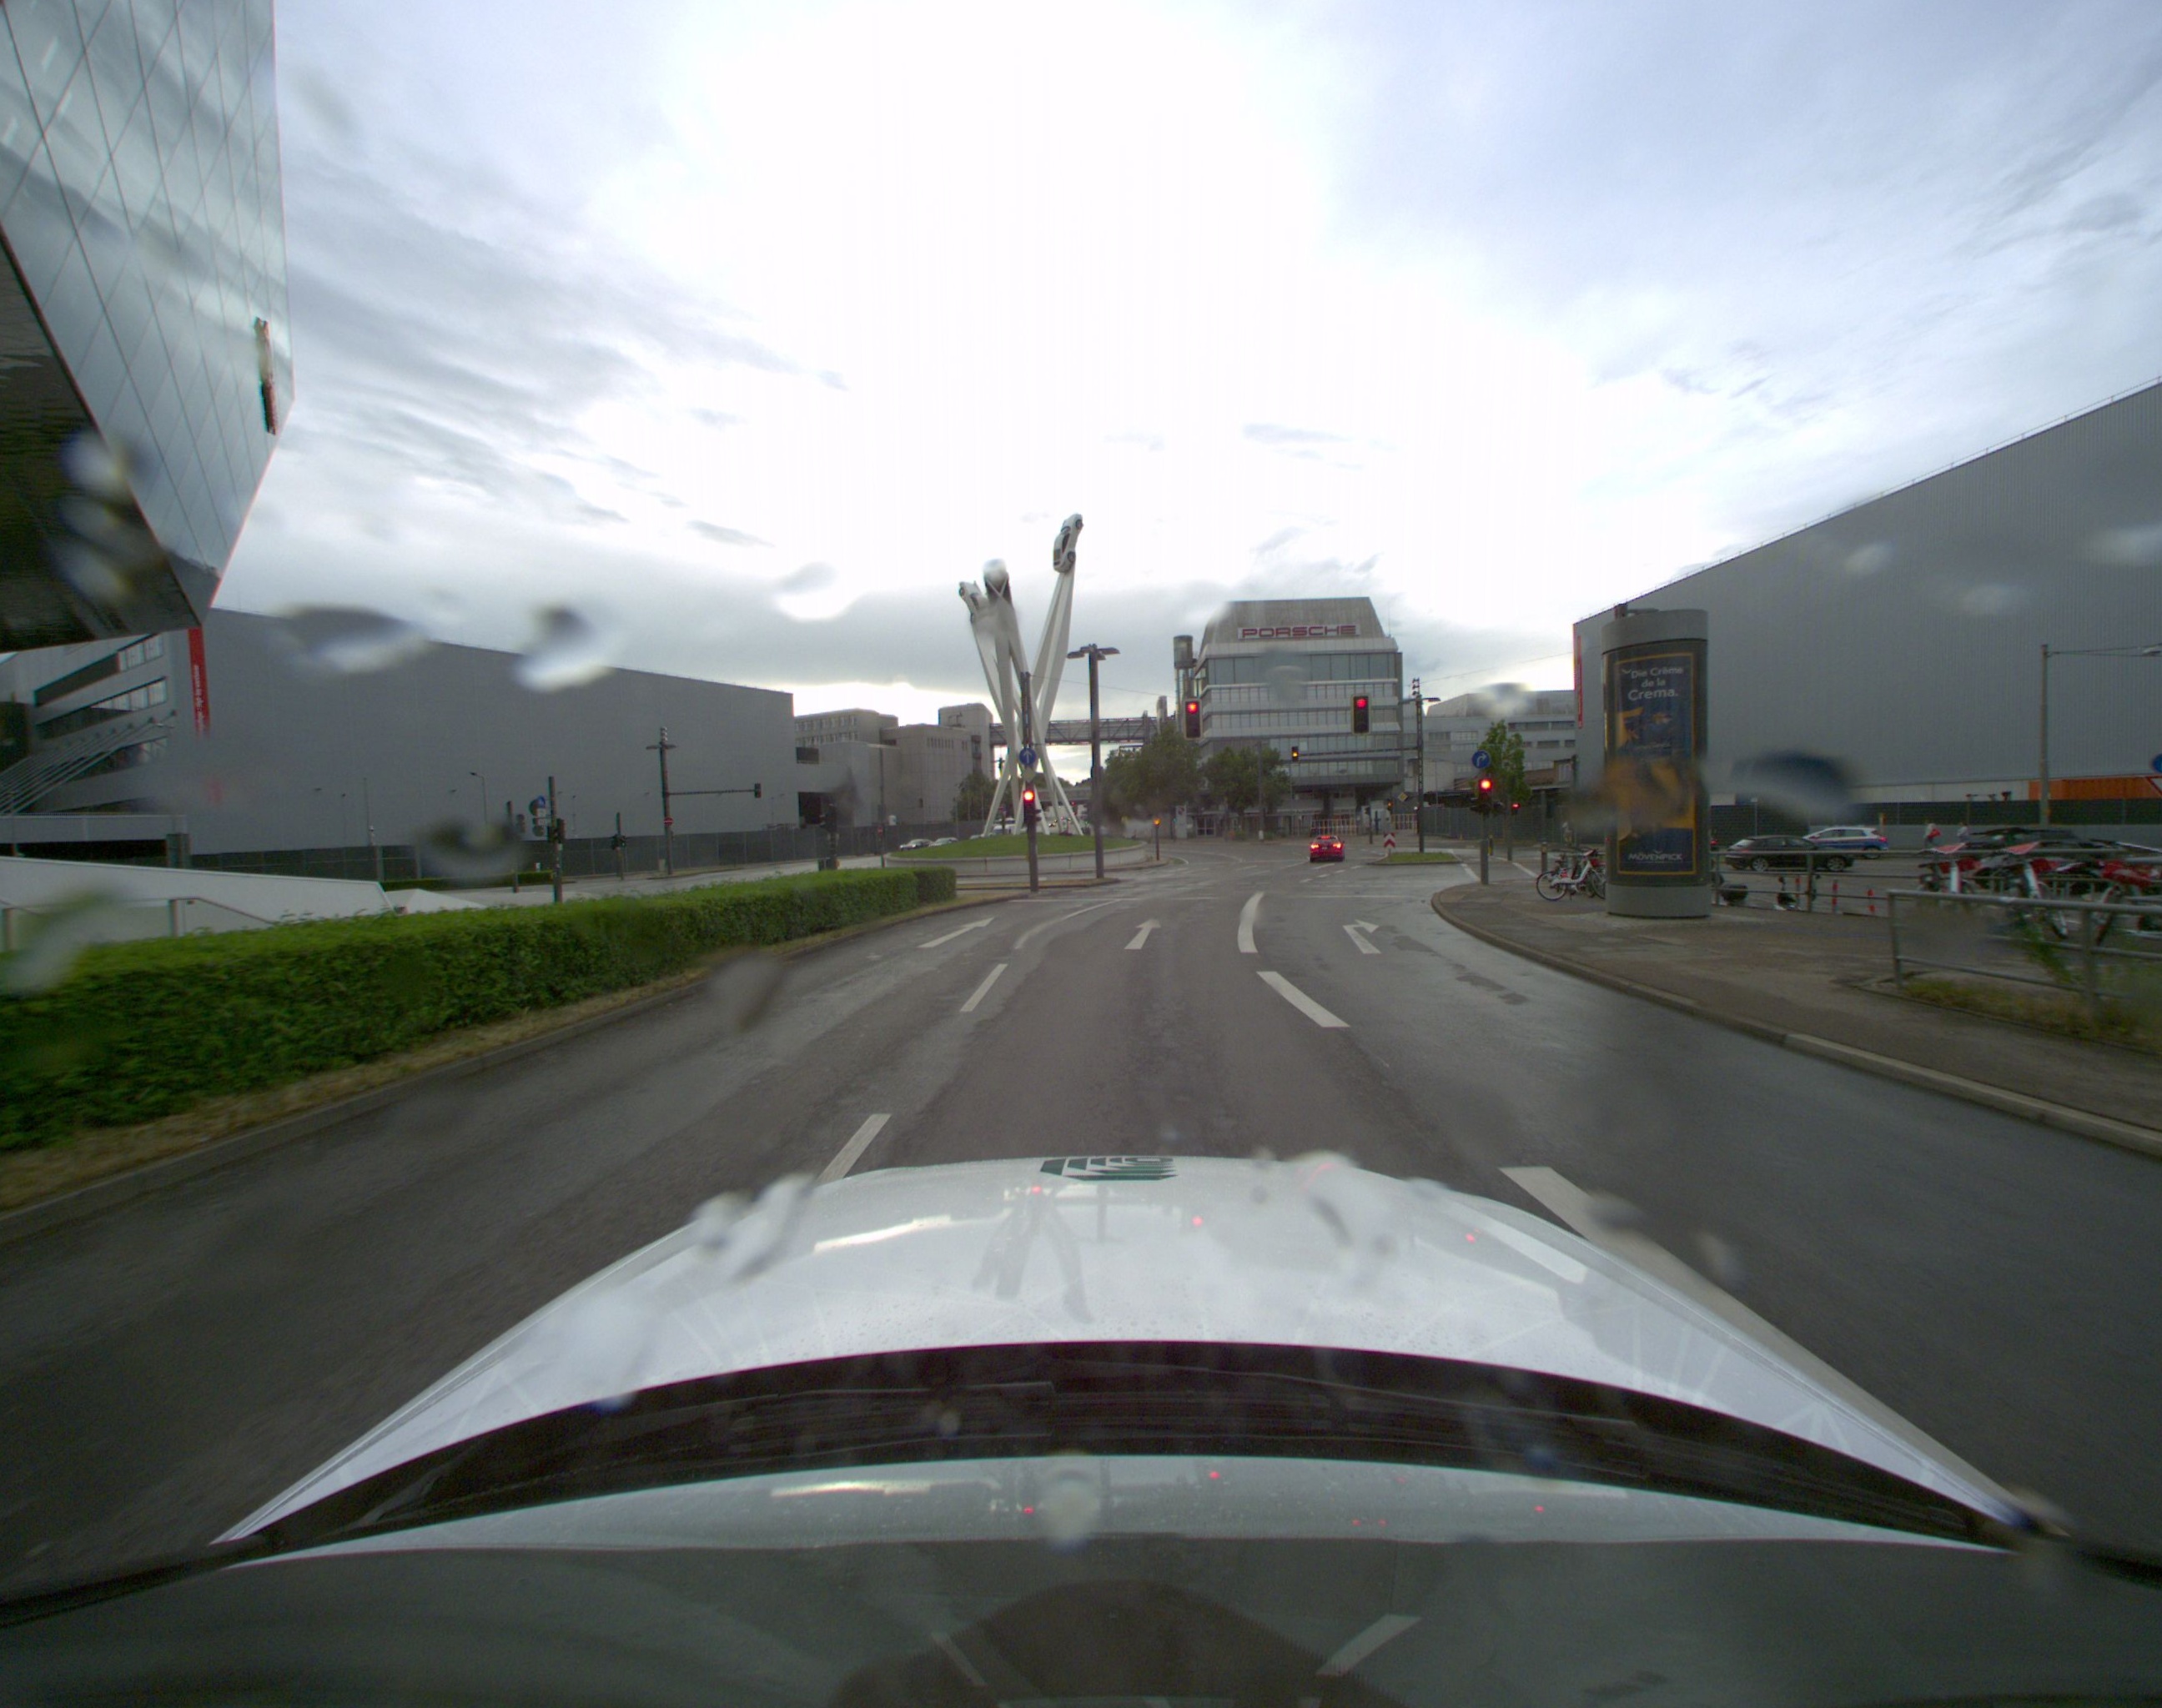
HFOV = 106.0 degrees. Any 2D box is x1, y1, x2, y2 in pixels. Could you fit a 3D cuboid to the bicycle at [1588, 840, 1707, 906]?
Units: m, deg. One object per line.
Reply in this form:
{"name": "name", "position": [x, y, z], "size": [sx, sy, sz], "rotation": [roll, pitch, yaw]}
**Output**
{"name": "bicycle", "position": [10.859, 0.364, 15.651], "size": [1.792, 1.161, 0.592], "rotation": [-3, 0, 4]}

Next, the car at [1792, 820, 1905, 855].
{"name": "car", "position": [37.496, -0.820, 39.913], "size": [3.931, 1.601, 1.923], "rotation": [1, 2, 43]}

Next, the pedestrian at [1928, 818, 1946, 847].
{"name": "pedestrian", "position": [43.528, -1.085, 41.420], "size": [0.426, 1.480, 0.606], "rotation": [-2, 1, -41]}

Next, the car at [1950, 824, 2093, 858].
{"name": "car", "position": [41.573, -0.612, 36.158], "size": [3.950, 1.392, 1.768], "rotation": [1, 3, 43]}

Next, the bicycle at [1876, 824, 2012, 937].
{"name": "bicycle", "position": [10.415, 0.286, 9.816], "size": [1.937, 1.224, 0.594], "rotation": [-2, 0, -27]}

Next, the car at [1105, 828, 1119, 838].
{"name": "car", "position": [4.337, -2.936, 115.251], "size": [1.663, 1.301, 3.882], "rotation": [-2, 0, -2]}

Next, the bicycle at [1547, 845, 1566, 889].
{"name": "bicycle", "position": [12.842, 0.332, 21.959], "size": [0.381, 1.119, 1.762], "rotation": [-2, 0, 31]}

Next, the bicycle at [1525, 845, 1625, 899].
{"name": "bicycle", "position": [11.034, 0.393, 18.241], "size": [1.760, 1.140, 0.680], "rotation": [-2, 0, 8]}

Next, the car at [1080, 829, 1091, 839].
{"name": "car", "position": [0.643, -2.908, 119.549], "size": [1.552, 1.288, 3.414], "rotation": [-2, 0, 1]}

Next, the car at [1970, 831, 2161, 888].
{"name": "car", "position": [29.289, 0.125, 23.783], "size": [1.837, 1.530, 4.136], "rotation": [0, 1, -22]}

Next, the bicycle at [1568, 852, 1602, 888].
{"name": "bicycle", "position": [13.243, 0.406, 21.422], "size": [0.526, 0.905, 1.824], "rotation": [-1, 0, 25]}

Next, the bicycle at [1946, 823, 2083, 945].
{"name": "bicycle", "position": [10.461, 0.294, 9.111], "size": [1.938, 1.224, 0.594], "rotation": [-2, 0, -29]}

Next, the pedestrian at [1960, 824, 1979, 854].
{"name": "pedestrian", "position": [43.883, -0.753, 40.223], "size": [0.441, 1.480, 0.642], "rotation": [-2, 1, -44]}

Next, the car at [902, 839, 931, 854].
{"name": "car", "position": [-17.211, -0.826, 85.149], "size": [1.825, 1.472, 4.518], "rotation": [-2, 1, 3]}

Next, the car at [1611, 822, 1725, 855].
{"name": "car", "position": [29.821, -0.806, 41.480], "size": [4.527, 1.539, 1.768], "rotation": [1, 3, 43]}

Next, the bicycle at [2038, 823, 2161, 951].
{"name": "bicycle", "position": [10.771, 0.295, 8.250], "size": [1.929, 1.178, 0.596], "rotation": [-2, 0, -15]}

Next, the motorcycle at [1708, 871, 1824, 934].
{"name": "motorcycle", "position": [12.444, 0.855, 14.864], "size": [0.694, 0.990, 1.752], "rotation": [-2, 1, 2]}

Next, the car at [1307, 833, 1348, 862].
{"name": "car", "position": [13.627, -0.373, 44.862], "size": [1.757, 1.464, 3.753], "rotation": [-2, 0, 22]}

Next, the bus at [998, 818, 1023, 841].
{"name": "bus", "position": [-10.499, -3.636, 122.150], "size": [2.660, 3.200, 12.668], "rotation": [-1, 1, 0]}

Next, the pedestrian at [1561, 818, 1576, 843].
{"name": "pedestrian", "position": [31.672, -1.511, 52.918], "size": [0.800, 1.610, 0.774], "rotation": [-2, -1, 30]}

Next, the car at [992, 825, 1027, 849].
{"name": "car", "position": [-7.817, -1.890, 89.736], "size": [1.978, 2.447, 5.450], "rotation": [-2, 1, 16]}

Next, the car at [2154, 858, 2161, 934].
{"name": "car", "position": [22.870, 0.827, 14.975], "size": [3.525, 1.481, 1.700], "rotation": [-2, 3, 13]}

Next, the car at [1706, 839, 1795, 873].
{"name": "car", "position": [27.198, 0.070, 33.201], "size": [1.597, 1.291, 3.583], "rotation": [-2, 0, 18]}

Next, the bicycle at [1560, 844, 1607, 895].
{"name": "bicycle", "position": [11.944, 0.351, 19.410], "size": [0.382, 1.162, 2.009], "rotation": [-2, 0, 16]}

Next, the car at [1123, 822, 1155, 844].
{"name": "car", "position": [6.198, -2.236, 87.640], "size": [2.233, 2.107, 4.937], "rotation": [-2, 0, -10]}

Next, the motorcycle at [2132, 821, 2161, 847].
{"name": "motorcycle", "position": [50.216, -0.938, 37.226], "size": [2.462, 1.186, 1.006], "rotation": [-1, 1, 38]}

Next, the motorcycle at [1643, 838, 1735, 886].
{"name": "motorcycle", "position": [19.162, 0.255, 25.717], "size": [2.208, 1.452, 0.761], "rotation": [-1, 1, 24]}

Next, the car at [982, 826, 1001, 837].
{"name": "car", "position": [-12.040, -3.037, 110.136], "size": [1.825, 1.472, 4.518], "rotation": [-2, 1, 3]}
